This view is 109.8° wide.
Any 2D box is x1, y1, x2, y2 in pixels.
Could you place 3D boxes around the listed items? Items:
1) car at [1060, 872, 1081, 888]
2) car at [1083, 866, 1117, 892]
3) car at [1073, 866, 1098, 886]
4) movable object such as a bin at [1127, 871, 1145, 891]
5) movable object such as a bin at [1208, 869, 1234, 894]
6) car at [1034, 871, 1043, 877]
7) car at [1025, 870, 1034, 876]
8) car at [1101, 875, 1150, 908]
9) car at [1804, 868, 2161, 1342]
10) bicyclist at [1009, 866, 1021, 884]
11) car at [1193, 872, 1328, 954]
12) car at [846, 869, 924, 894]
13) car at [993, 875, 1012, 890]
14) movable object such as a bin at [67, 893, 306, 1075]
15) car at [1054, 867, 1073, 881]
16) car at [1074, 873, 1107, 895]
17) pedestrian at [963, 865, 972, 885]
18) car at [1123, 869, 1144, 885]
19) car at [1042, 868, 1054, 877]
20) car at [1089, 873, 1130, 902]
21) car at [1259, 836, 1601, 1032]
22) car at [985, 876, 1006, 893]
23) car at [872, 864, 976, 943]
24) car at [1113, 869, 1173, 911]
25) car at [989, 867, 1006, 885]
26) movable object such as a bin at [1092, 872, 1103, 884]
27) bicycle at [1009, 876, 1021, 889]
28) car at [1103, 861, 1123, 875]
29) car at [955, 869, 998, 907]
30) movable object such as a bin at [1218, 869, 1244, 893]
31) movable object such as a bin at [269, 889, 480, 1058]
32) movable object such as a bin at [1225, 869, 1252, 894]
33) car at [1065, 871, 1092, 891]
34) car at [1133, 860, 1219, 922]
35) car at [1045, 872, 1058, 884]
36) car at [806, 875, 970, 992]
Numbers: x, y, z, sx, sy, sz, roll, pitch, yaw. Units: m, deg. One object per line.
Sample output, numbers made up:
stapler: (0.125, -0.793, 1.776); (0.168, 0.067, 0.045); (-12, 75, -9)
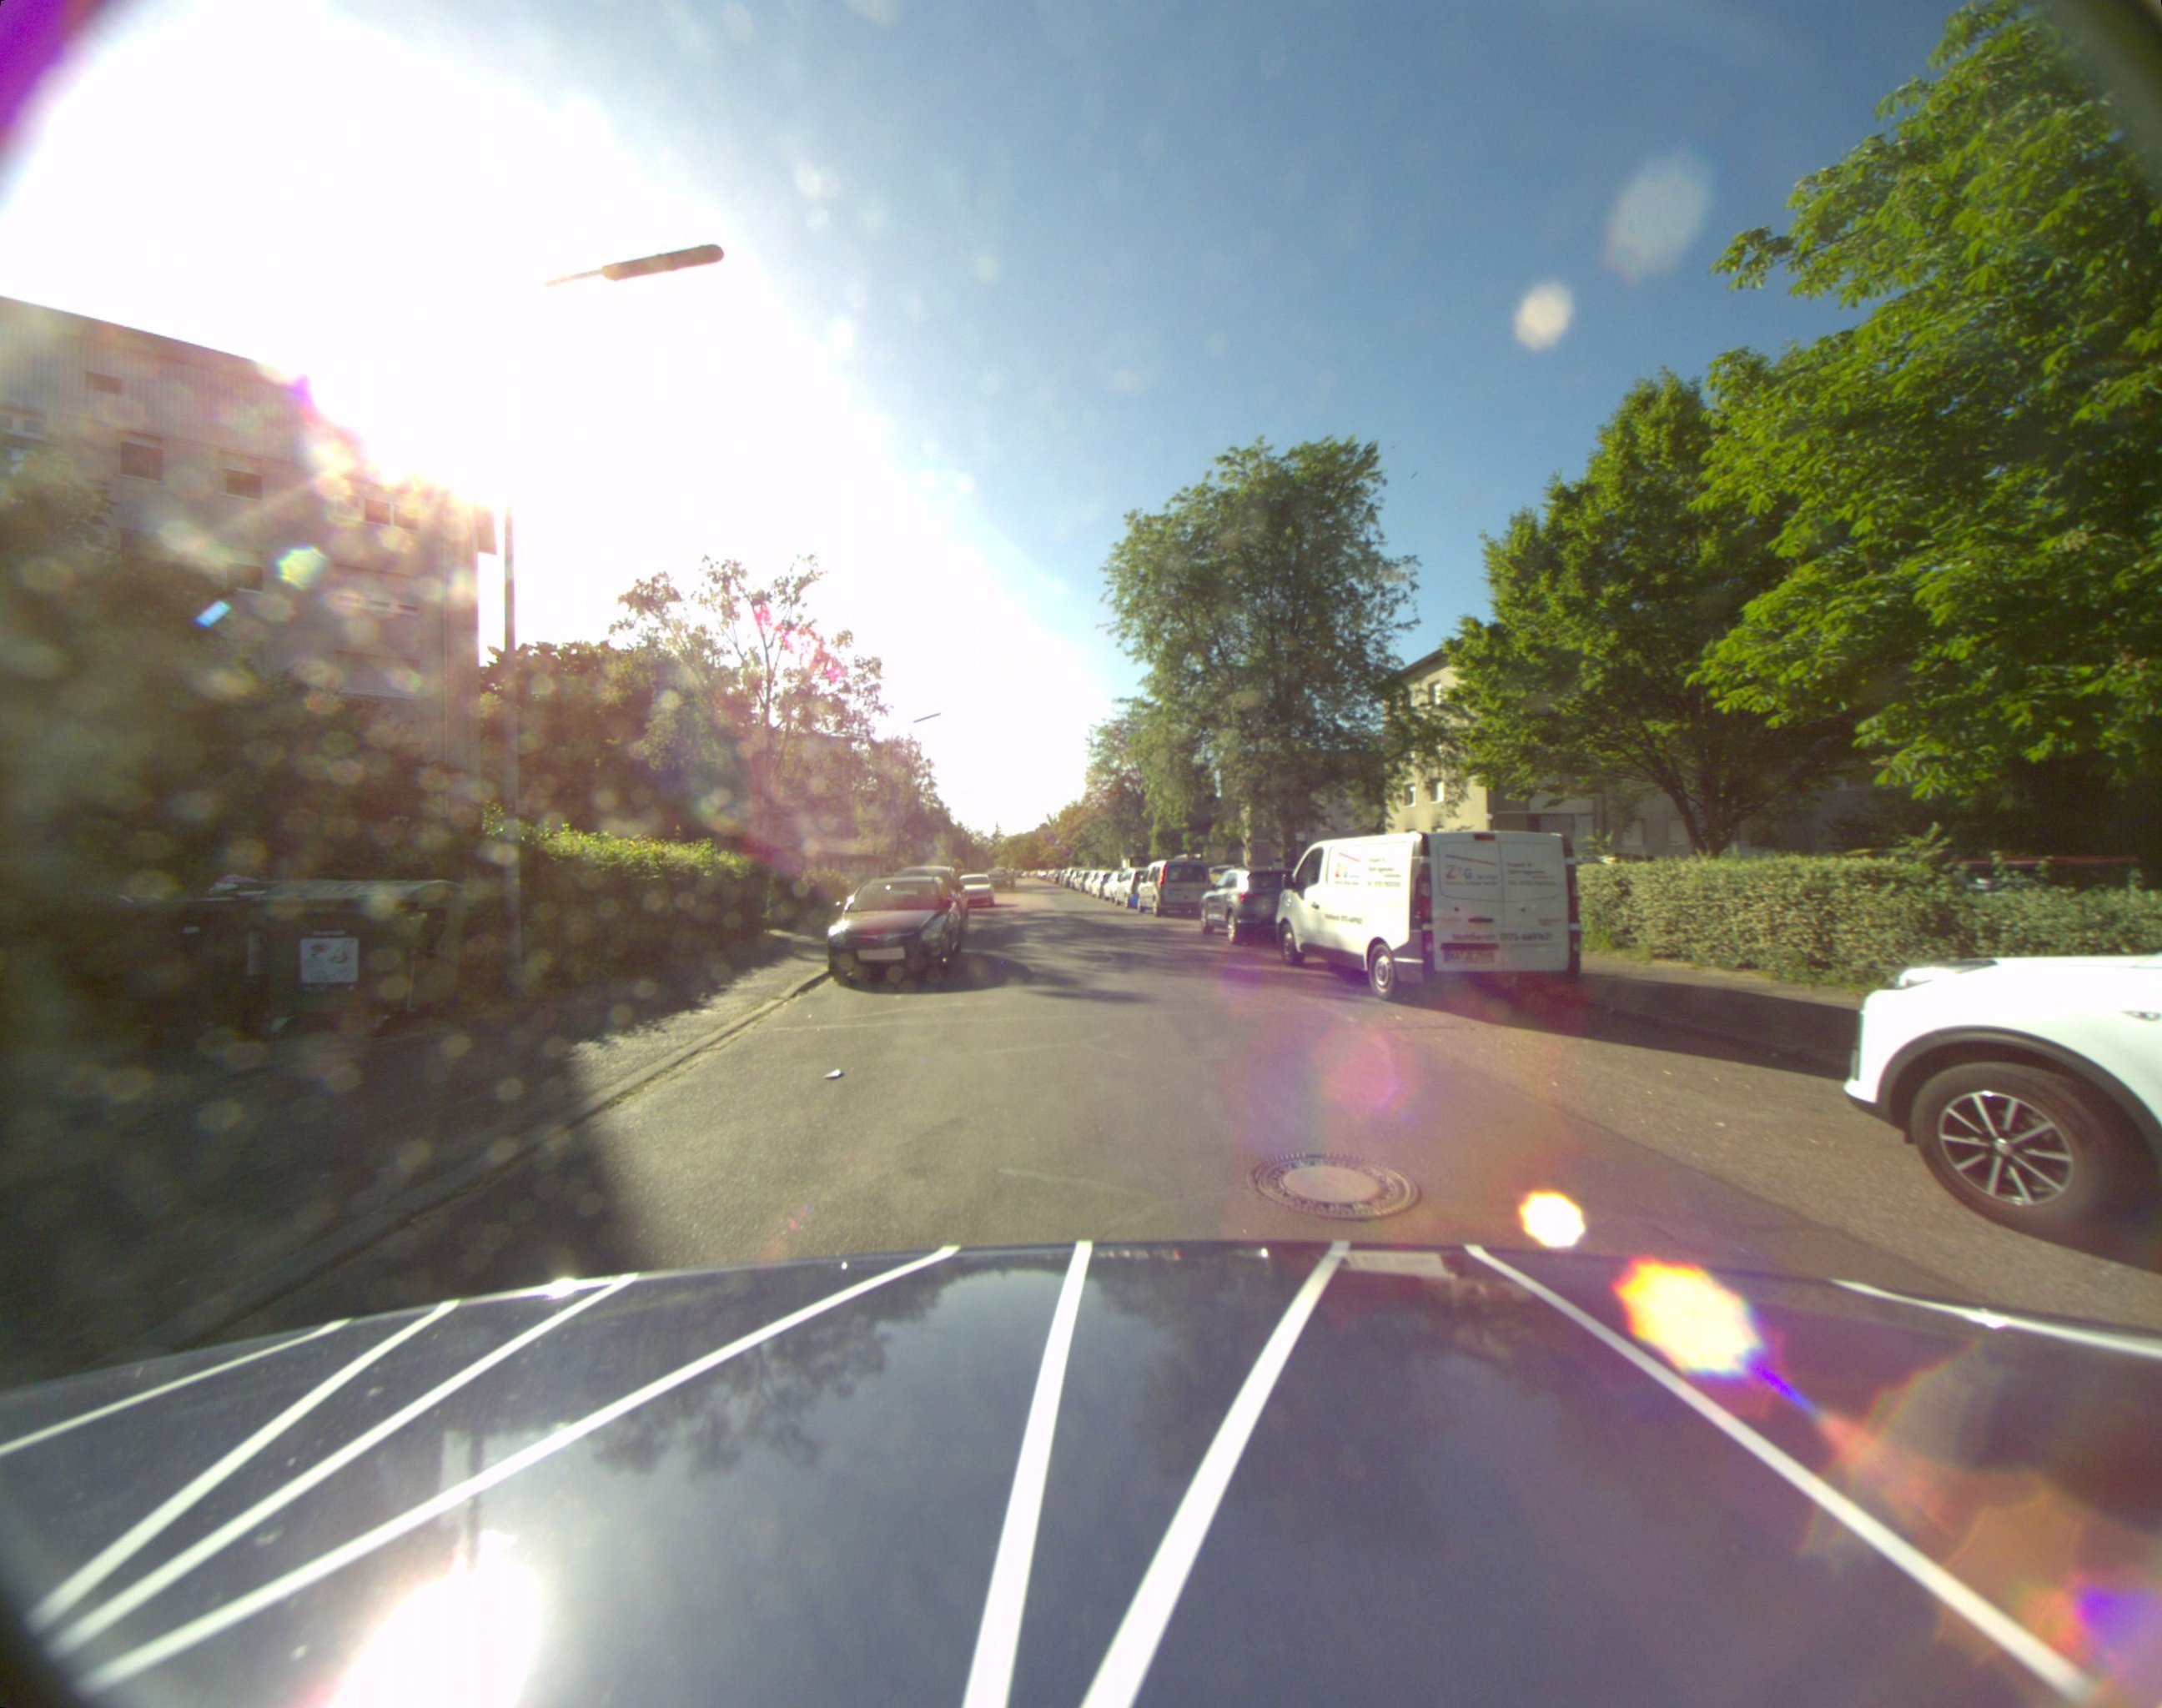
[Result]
car: (-1.047, 2.553, 75.152); (1.759, 1.596, 3.968); (1, -1, -4)
car: (1.131, 1.507, 46.947); (1.691, 1.525, 3.890); (0, -1, -6)
car: (0.291, 1.677, 59.242); (1.667, 1.504, 3.945); (0, -1, -4)
movable object such as a bin: (4.075, 2.006, 56.414); (1.139, 1.374, 1.441); (-4, -1, -4)
movable object such as a bin: (8.327, 1.618, 45.351); (1.137, 1.412, 1.361); (-4, -1, -4)
car: (-9.694, 4.530, 172.788); (1.812, 1.469, 3.939); (0, -2, -8)
car: (-12.802, 4.658, 189.847); (1.659, 1.469, 3.732); (1, -2, -12)
car: (2.095, 1.778, 36.775); (1.691, 1.456, 4.524); (1, -1, -5)
car: (4.794, 0.860, 1.764); (1.752, 1.659, 4.376); (0, -1, -8)
bicyclist: (-4.979, 1.612, 57.486); (0.813, 1.347, 1.091); (-1, -1, -4)
car: (3.664, 1.153, 16.274); (1.751, 1.524, 4.139); (0, -1, -3)
car: (-12.065, 1.704, 47.046); (4.428, 1.504, 1.828); (0, -1, -4)
car: (-8.323, 3.012, 80.310); (1.737, 1.481, 4.499); (-3, -1, -7)
movable object such as a bin: (-7.904, 1.097, 6.785); (0.920, 1.445, 1.025); (-1, -1, -5)
car: (-2.026, 2.281, 86.692); (1.759, 1.472, 4.536); (1, -1, -6)
car: (0.656, 2.101, 54.300); (1.668, 1.504, 3.535); (0, -1, -11)
pedestrian: (-11.025, 2.017, 73.863); (0.705, 1.877, 0.872); (1, -1, -4)
car: (5.670, 2.528, 82.576); (1.575, 1.631, 3.998); (-2, -1, -7)
car: (-5.306, 2.987, 122.080); (1.759, 1.416, 4.210); (1, -1, -3)
car: (1.509, 1.825, 42.050); (1.692, 1.496, 3.816); (0, -1, -7)
car: (4.130, 0.865, 10.197); (1.920, 1.950, 5.086); (0, -1, -5)
car: (-7.750, 2.714, 68.758); (1.737, 1.395, 3.893); (-2, -1, -7)
car: (-3.686, 1.112, 18.626); (1.913, 1.629, 4.627); (-2, -1, -5)
car: (2.480, 1.456, 31.295); (1.715, 1.590, 3.984); (1, -1, -6)
car: (-8.026, 2.108, 73.187); (1.493, 1.708, 2.582); (-2, -1, -5)
movable object such as a bin: (1.982, 2.930, 92.540); (1.181, 1.332, 1.343); (-2, -1, -4)
bicycle: (-4.970, 2.144, 57.597); (0.824, 0.895, 2.203); (-1, -1, -4)
car: (3.462, 1.535, 83.146); (1.575, 1.516, 3.998); (-2, -1, -7)
car: (-4.682, 1.490, 34.193); (1.759, 1.504, 4.102); (-3, -1, -7)
movable object such as a bin: (9.375, 1.662, 47.496); (1.181, 1.412, 1.462); (-4, -1, -3)
movable object such as a bin: (-6.729, 1.077, 7.334); (0.920, 1.445, 1.232); (-1, -1, -5)
movable object such as a bin: (9.492, 1.631, 45.747); (1.181, 1.412, 1.462); (-4, -1, -3)
car: (-0.219, 2.267, 64.253); (1.909, 1.630, 4.348); (0, -1, -5)
car: (3.063, 1.186, 25.357); (1.860, 1.881, 4.416); (0, -1, -7)
car: (-4.520, 3.620, 115.093); (1.759, 1.625, 4.369); (1, -1, -5)
car: (-2.963, 1.152, 12.613); (1.913, 1.521, 4.327); (-2, -1, -5)
